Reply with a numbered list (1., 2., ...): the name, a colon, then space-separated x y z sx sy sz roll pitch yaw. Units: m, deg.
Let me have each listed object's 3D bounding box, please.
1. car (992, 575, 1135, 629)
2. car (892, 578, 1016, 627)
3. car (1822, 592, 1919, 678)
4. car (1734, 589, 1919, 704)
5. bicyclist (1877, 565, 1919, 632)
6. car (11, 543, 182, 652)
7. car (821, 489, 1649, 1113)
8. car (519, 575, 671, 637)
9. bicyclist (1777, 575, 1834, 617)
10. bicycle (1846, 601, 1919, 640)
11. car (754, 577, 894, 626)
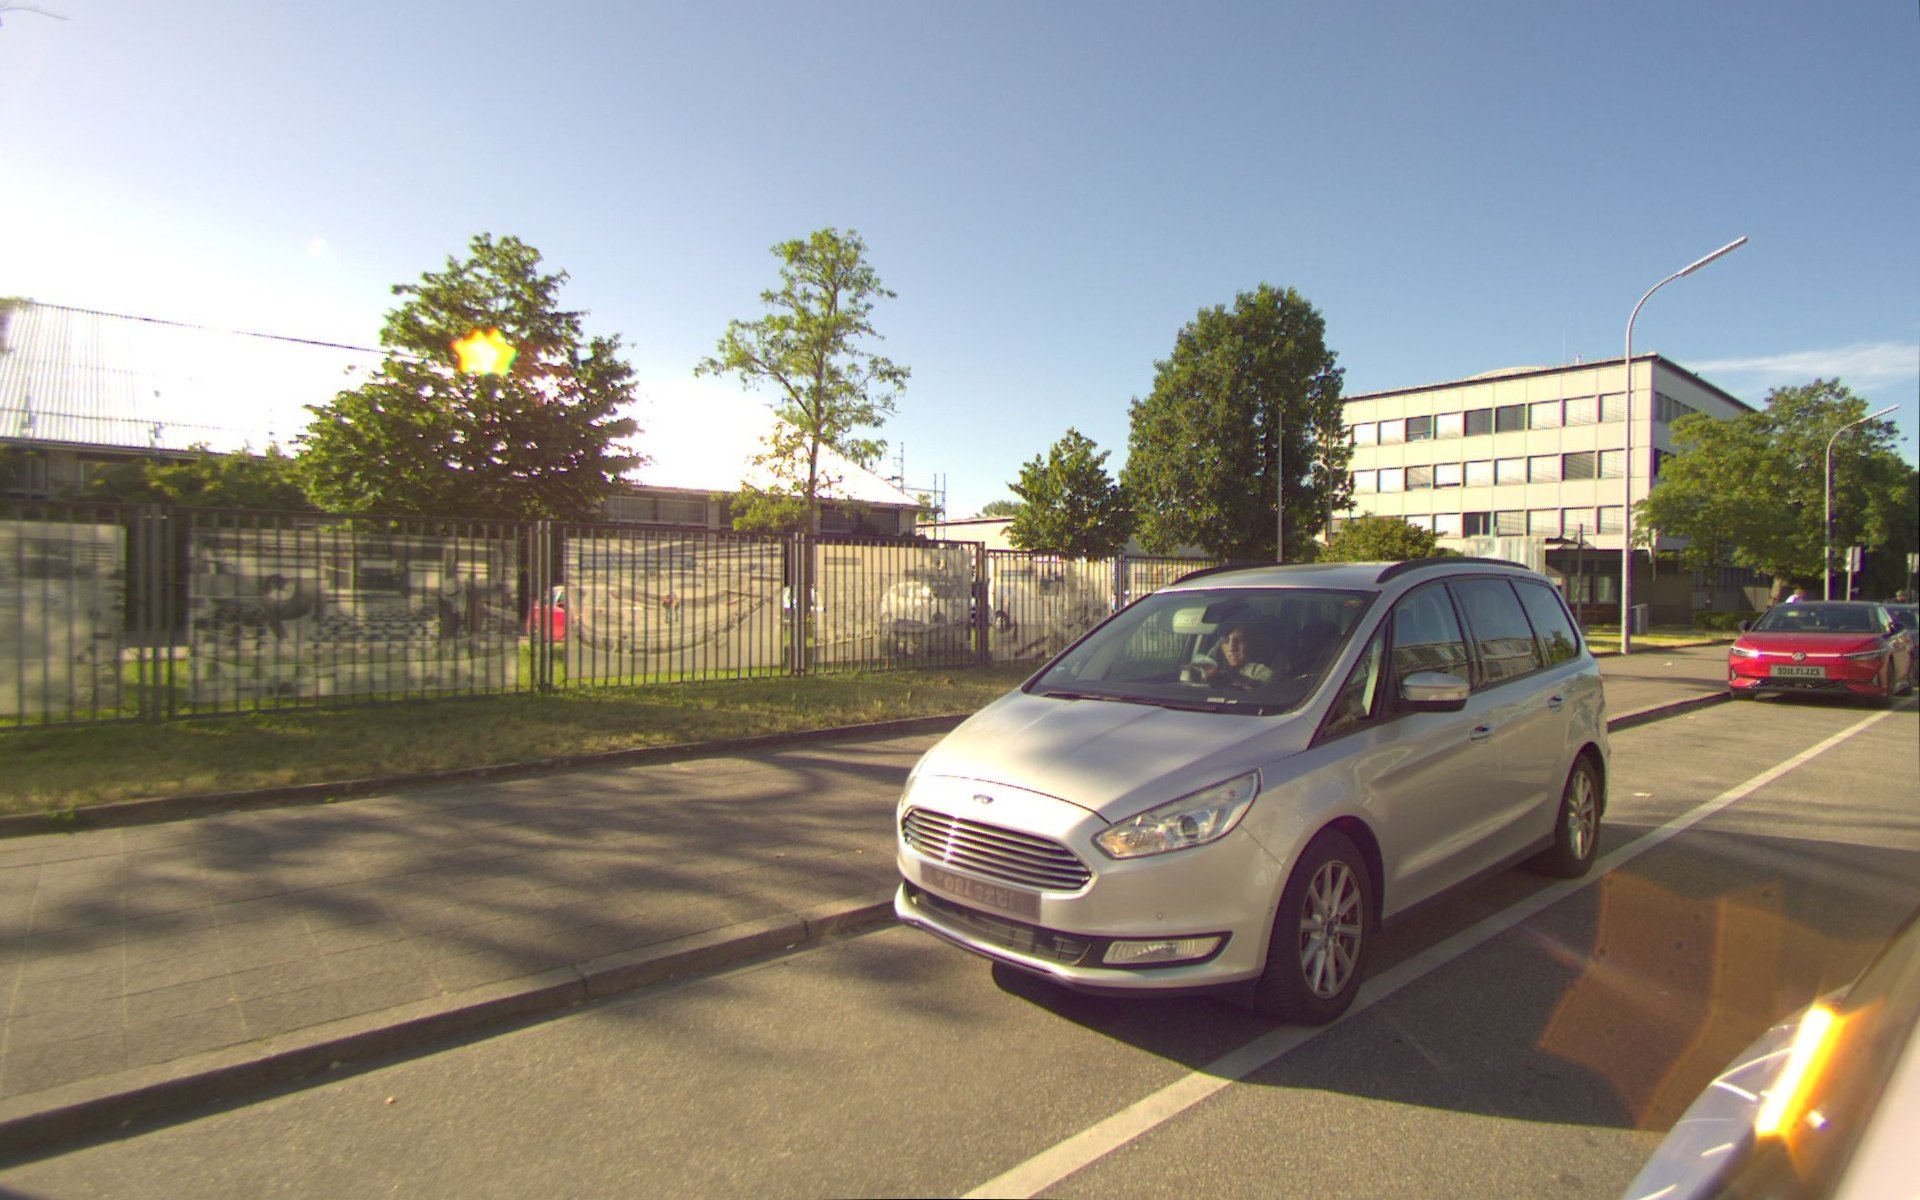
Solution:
1. car: 3.456 0.011 34.472 4.629 1.689 1.968 2 1 44
2. car: -0.236 0.042 31.413 1.647 1.397 3.892 0 1 -43
3. car: 18.072 0.616 19.505 4.143 1.506 1.703 0 -1 -42
4. car: 13.738 0.626 15.797 4.641 1.529 1.811 0 -1 -42
5. bicyclist: 29.587 -0.037 31.777 0.943 2.038 1.051 1 1 -43
6. car: -15.351 -0.008 17.906 2.060 1.665 4.970 0 -1 -43
7. car: 1.732 0.562 5.078 4.624 1.744 1.811 0 -1 -42
8. car: -8.367 0.149 23.013 1.798 1.268 4.146 0 -1 -43
9. bicyclist: 26.509 -0.141 31.748 0.844 1.284 1.102 1 0 -25
10. bicycle: 29.336 0.651 32.003 0.689 1.021 1.882 6 1 -43
11. car: -3.866 0.075 28.349 1.847 1.268 4.146 0 -1 -43
